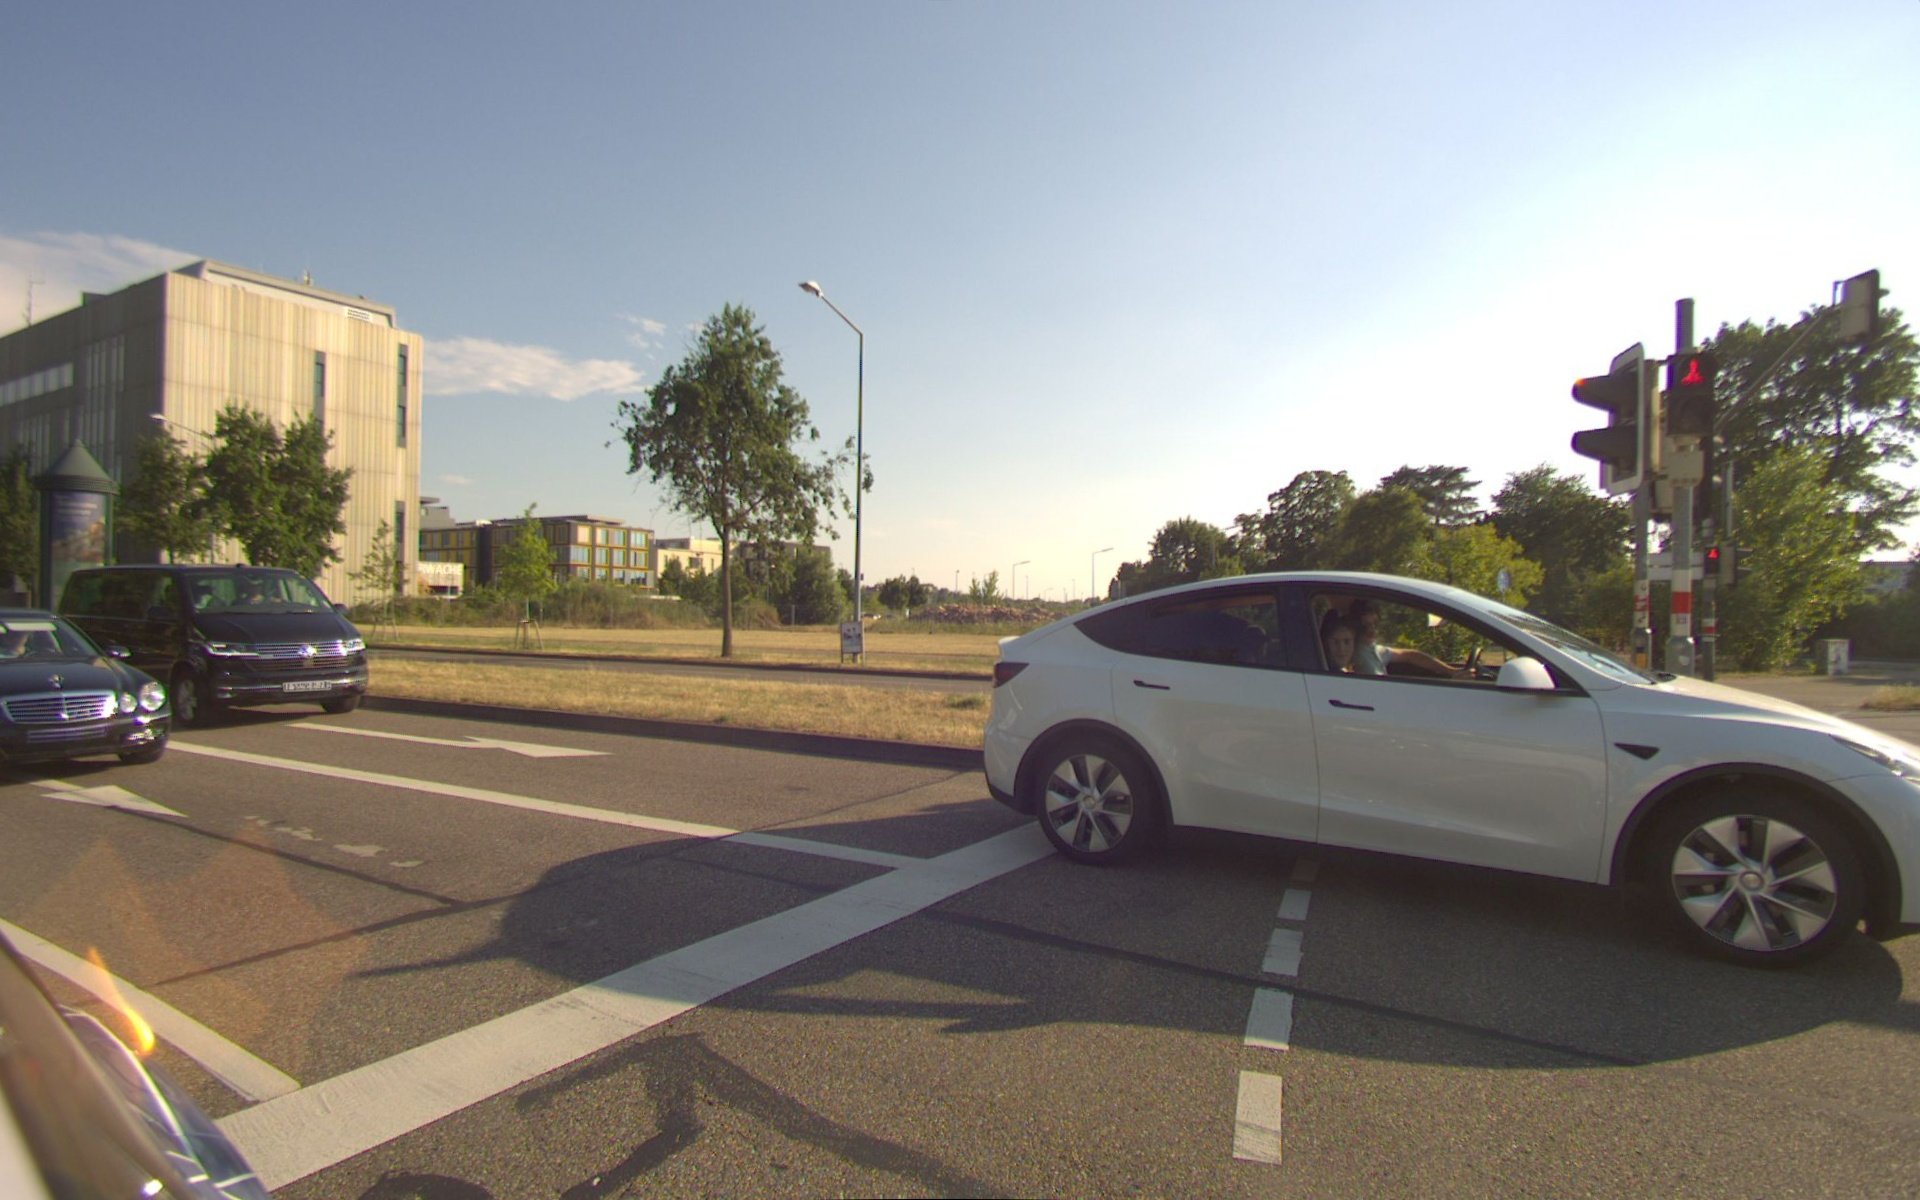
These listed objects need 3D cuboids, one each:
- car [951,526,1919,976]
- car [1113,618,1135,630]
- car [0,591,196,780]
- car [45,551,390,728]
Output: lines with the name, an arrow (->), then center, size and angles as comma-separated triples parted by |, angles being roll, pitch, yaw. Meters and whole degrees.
car -> 2.365, 0.546, 5.345 | 4.663, 1.611, 1.721 | 0, 0, 33
car -> 18.037, 2.663, 111.306 | 1.314, 1.302, 2.812 | 1, -1, -16
car -> -9.104, 0.673, 9.320 | 4.478, 1.447, 1.792 | -1, 0, 31
car -> -9.776, 0.419, 13.213 | 4.994, 1.946, 1.843 | 0, 0, 31
